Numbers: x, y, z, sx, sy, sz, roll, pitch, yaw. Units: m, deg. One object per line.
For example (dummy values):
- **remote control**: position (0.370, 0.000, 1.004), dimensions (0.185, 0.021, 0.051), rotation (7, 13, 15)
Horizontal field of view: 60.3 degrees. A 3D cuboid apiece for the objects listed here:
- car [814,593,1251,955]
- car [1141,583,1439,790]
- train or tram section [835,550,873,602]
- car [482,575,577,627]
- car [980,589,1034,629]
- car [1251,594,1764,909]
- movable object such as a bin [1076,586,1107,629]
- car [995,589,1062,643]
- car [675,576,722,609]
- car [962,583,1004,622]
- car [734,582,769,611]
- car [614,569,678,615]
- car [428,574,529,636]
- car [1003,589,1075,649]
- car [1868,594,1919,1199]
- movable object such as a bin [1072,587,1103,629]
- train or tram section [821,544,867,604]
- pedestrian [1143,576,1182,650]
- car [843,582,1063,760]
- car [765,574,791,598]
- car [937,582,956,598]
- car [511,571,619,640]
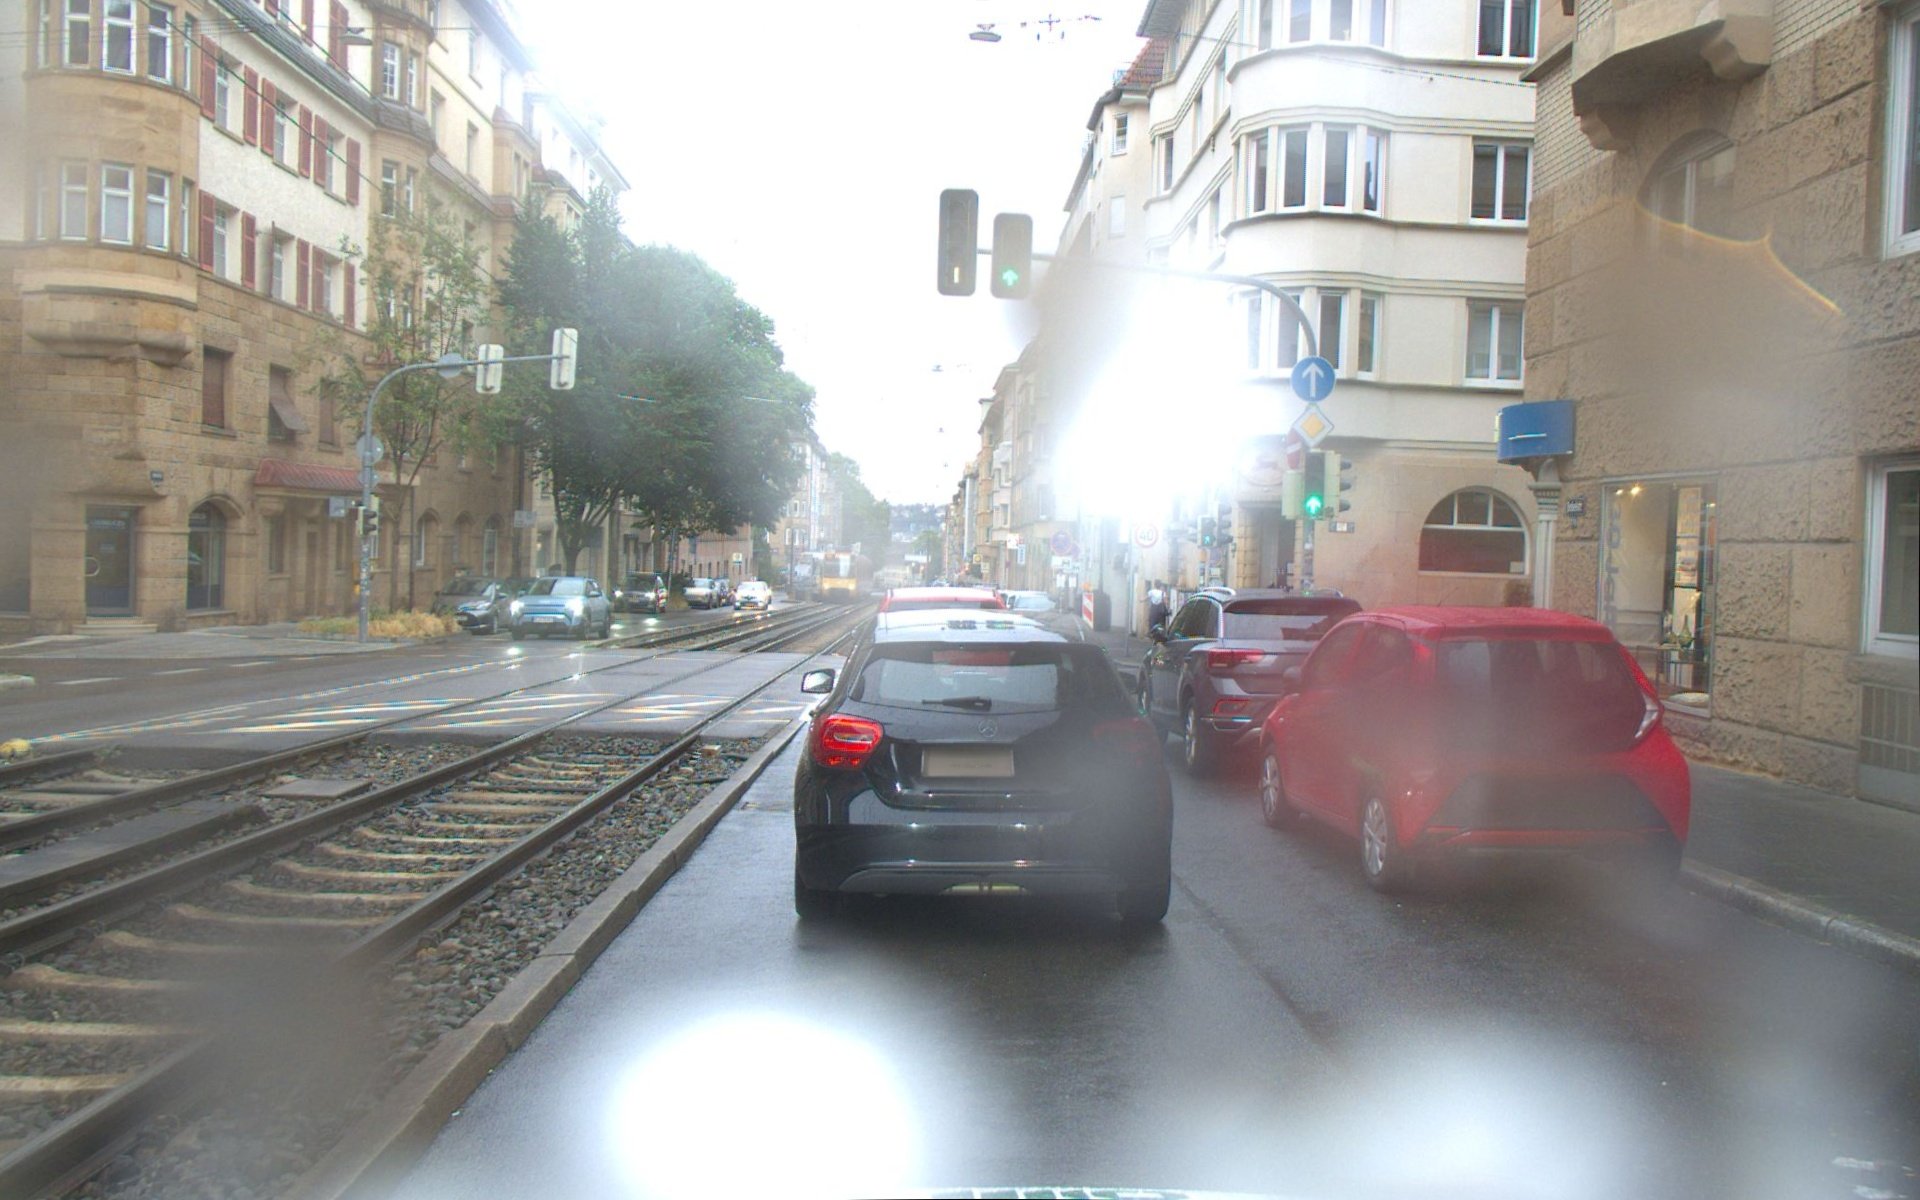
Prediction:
- **car**: position (0.276, 0.722, 8.851), dimensions (1.797, 1.478, 3.901), rotation (1, 0, -1)
- **car**: position (2.828, 0.678, 15.073), dimensions (1.830, 1.576, 3.990), rotation (2, 0, -1)
- **train or tram section**: position (-8.966, -2.014, 141.432), dimensions (2.690, 4.132, 15.656), rotation (1, 1, -2)
- **car**: position (-13.021, 0.038, 50.300), dimensions (1.745, 1.485, 4.976), rotation (1, 0, -3)
- **car**: position (1.703, 0.316, 61.323), dimensions (1.753, 1.410, 4.394), rotation (1, 0, -1)
- **car**: position (2.979, 0.737, 9.803), dimensions (1.672, 1.478, 3.530), rotation (2, 0, -3)
- **movable object such as a bin**: position (4.681, 0.278, 59.121), dimensions (0.960, 1.494, 1.272), rotation (1, 0, -2)
- **car**: position (1.942, 0.454, 48.267), dimensions (1.677, 1.493, 4.773), rotation (1, 0, -1)
- **car**: position (-13.935, -0.416, 88.293), dimensions (1.922, 1.633, 4.327), rotation (2, 1, -2)
- **car**: position (1.053, 0.118, 73.906), dimensions (1.803, 1.636, 4.761), rotation (1, 0, 1)
- **car**: position (-11.246, -0.186, 89.377), dimensions (1.746, 1.529, 4.058), rotation (1, 0, -5)
- **car**: position (-13.443, -0.364, 71.085), dimensions (1.914, 1.772, 4.777), rotation (4, 1, -3)
- **car**: position (-12.957, 0.137, 44.745), dimensions (1.656, 1.556, 4.173), rotation (1, 0, -3)
- **car**: position (1.995, 0.477, 42.900), dimensions (1.675, 1.435, 4.817), rotation (1, 0, 1)
- **car**: position (3.099, 0.756, 2.432), dimensions (1.562, 1.513, 3.521), rotation (0, 0, -1)
- **movable object such as a bin**: position (4.676, 0.284, 60.667), dimensions (0.997, 1.494, 1.322), rotation (1, 0, -2)
- **train or tram section**: position (-8.654, -1.922, 125.159), dimensions (2.690, 4.132, 17.208), rotation (1, 1, -2)
- **pedestrian**: position (4.786, 0.299, 39.154), dimensions (0.788, 1.717, 0.754), rotation (1, -1, -2)
- **car**: position (-0.091, 0.634, 17.148), dimensions (1.953, 1.552, 4.245), rotation (2, 0, -1)
- **car**: position (-11.877, -0.916, 108.031), dimensions (1.621, 1.488, 3.730), rotation (0, 0, -5)
- **car**: position (-1.377, -1.021, 172.372), dimensions (1.848, 1.552, 4.246), rotation (2, 0, 1)
- **car**: position (-9.940, 0.138, 41.885), dimensions (1.883, 1.646, 4.126), rotation (1, 0, -3)
